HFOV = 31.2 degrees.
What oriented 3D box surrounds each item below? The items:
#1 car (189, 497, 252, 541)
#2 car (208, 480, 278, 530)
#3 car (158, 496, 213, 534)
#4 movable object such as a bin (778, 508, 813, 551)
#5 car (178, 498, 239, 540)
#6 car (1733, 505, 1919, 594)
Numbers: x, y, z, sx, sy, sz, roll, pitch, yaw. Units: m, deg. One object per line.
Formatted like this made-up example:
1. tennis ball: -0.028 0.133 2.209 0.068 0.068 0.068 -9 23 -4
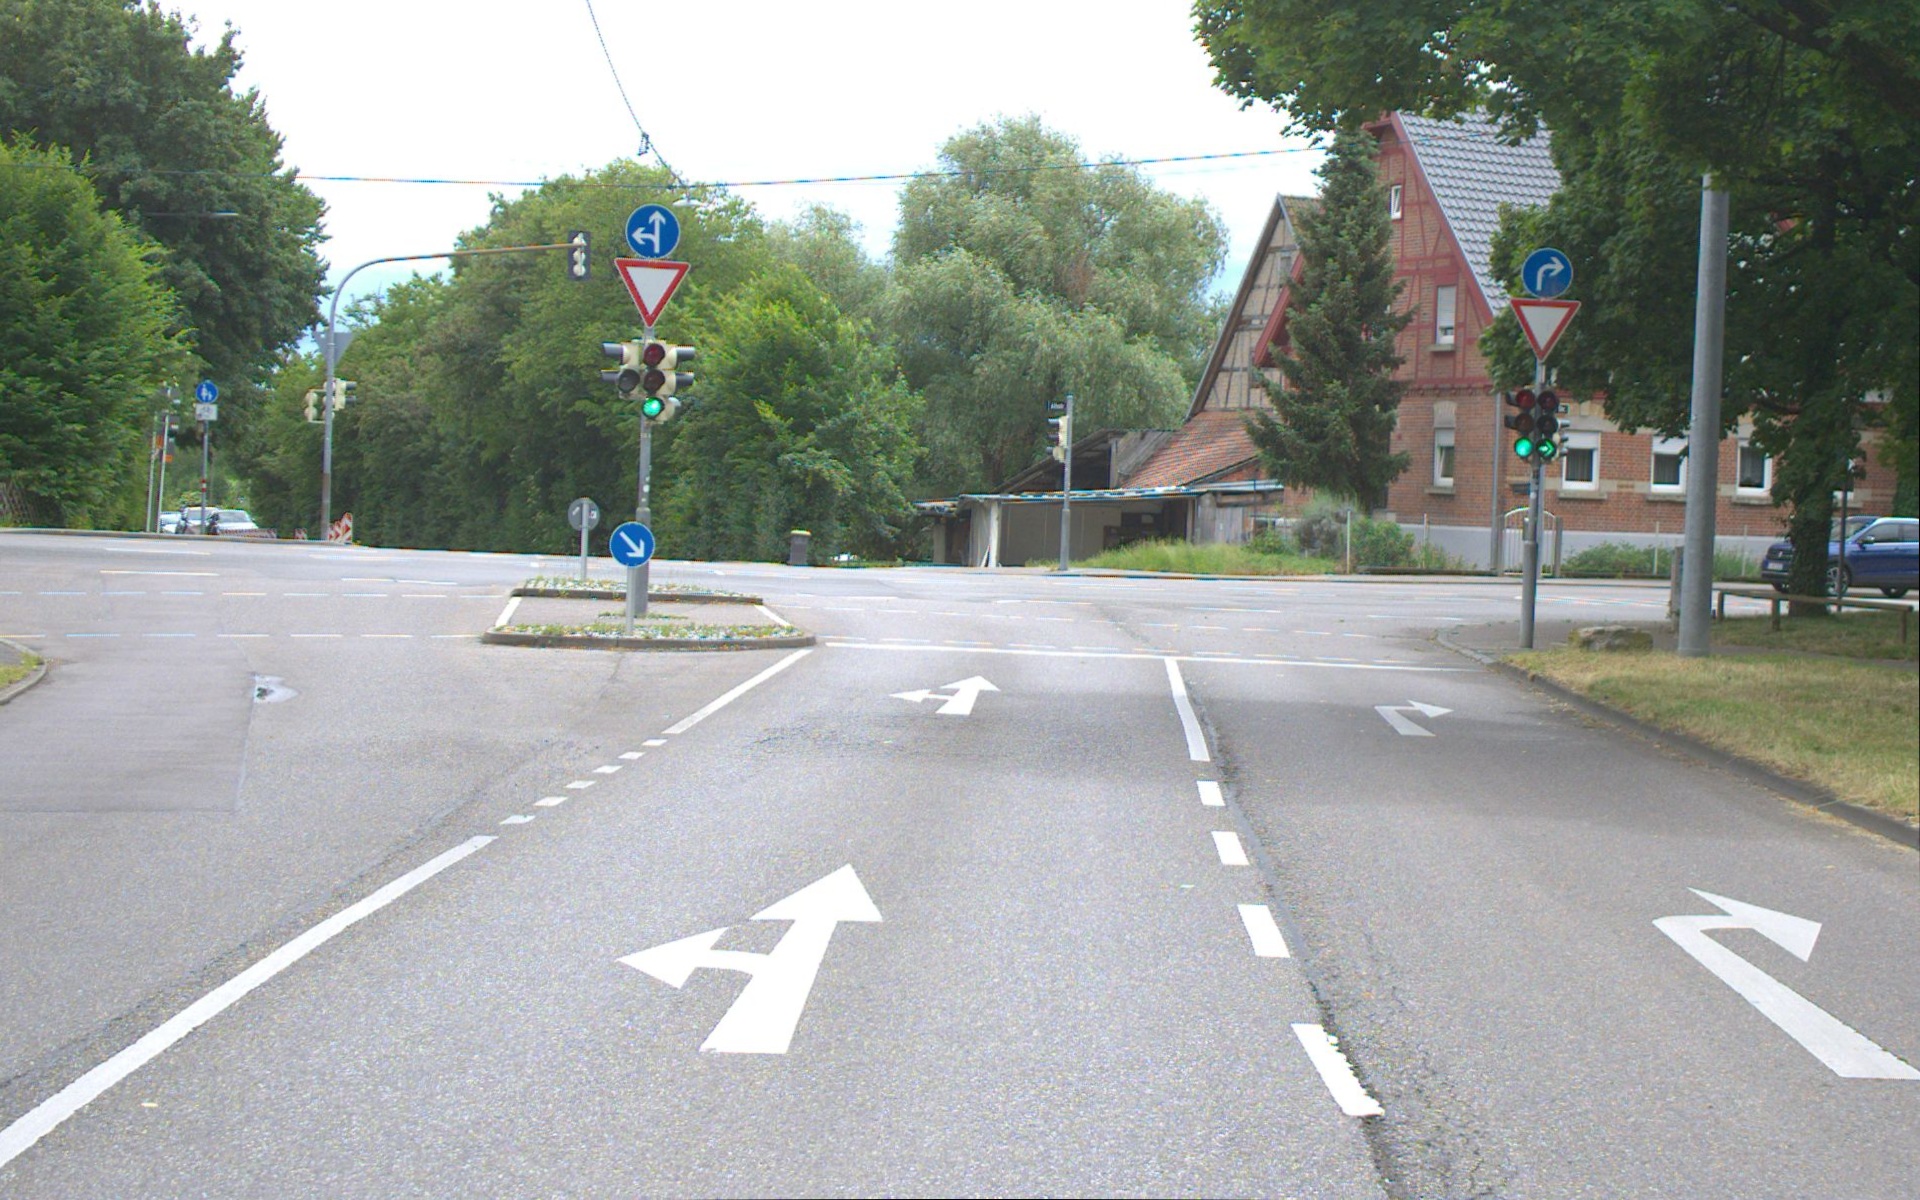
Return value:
1. car: -25.182 -2.753 117.003 1.793 1.405 4.002 1 2 -17
2. car: -22.764 -3.024 109.047 1.793 1.507 4.002 1 2 -17
3. car: -30.220 -3.318 134.089 1.793 1.405 4.002 1 2 -17
4. movable object such as a bin: -3.881 -1.663 81.115 0.632 0.998 0.584 2 0 -25
5. car: -26.711 -2.895 122.181 1.793 1.405 4.002 1 2 -17
6. car: 17.337 -0.981 67.105 3.844 1.641 2.001 1 2 -17
